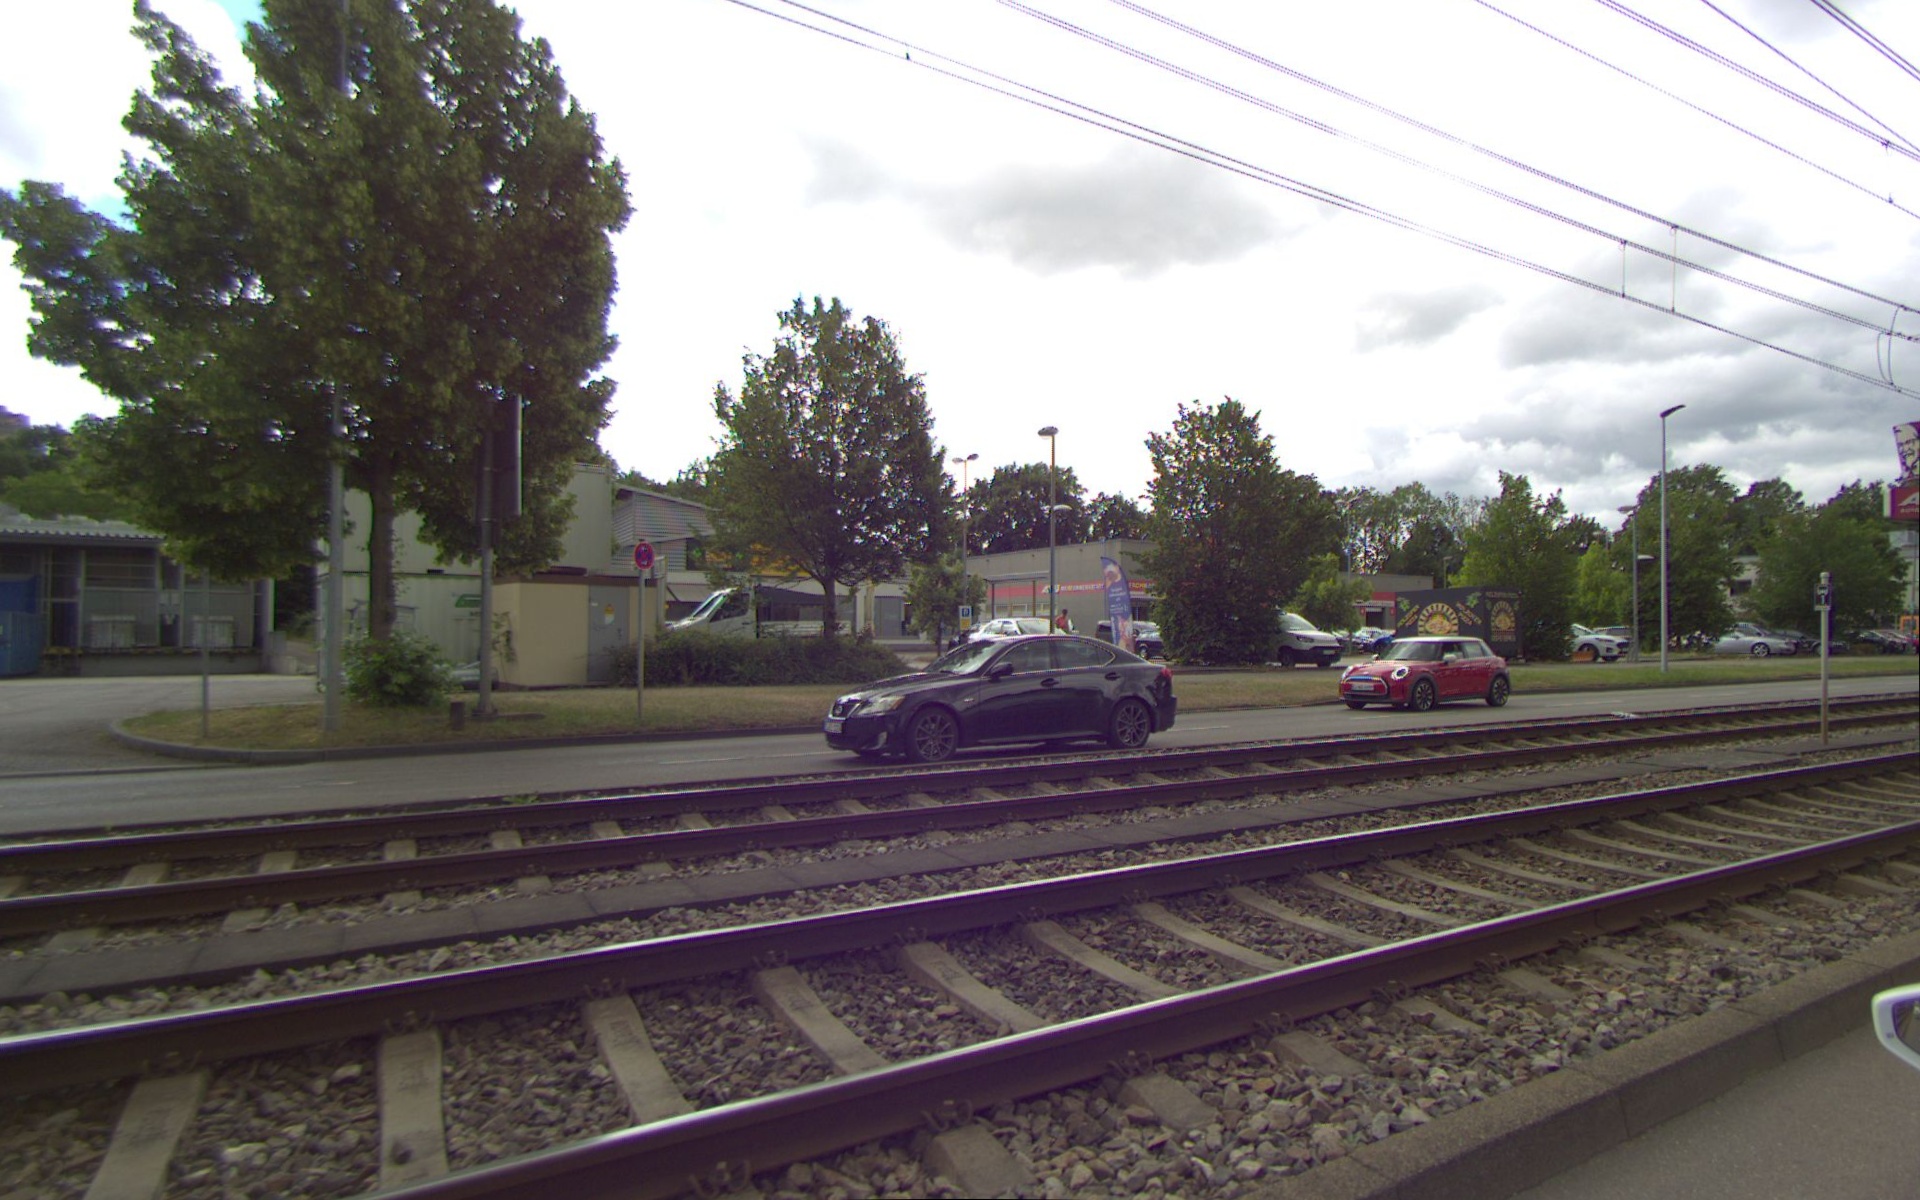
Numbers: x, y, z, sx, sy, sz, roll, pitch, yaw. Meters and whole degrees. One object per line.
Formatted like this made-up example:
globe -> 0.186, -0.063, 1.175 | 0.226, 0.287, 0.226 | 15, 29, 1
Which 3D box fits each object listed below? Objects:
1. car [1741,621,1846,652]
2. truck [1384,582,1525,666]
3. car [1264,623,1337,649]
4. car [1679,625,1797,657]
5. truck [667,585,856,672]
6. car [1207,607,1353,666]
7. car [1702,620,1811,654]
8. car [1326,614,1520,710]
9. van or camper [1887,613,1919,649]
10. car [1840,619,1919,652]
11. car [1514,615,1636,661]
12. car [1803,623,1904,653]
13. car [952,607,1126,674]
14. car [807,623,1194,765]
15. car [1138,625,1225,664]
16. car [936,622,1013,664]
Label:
car -> 44.291, 1.932, 53.438 | 1.859, 1.620, 3.963 | 1, -2, -34
truck -> 17.936, 0.894, 36.606 | 2.350, 2.859, 3.966 | 1, -2, -32
car -> 19.479, 2.065, 57.642 | 1.664, 1.491, 3.716 | 1, -2, -36
car -> 38.069, 1.967, 49.272 | 1.661, 1.491, 4.284 | 1, -2, -31
truck -> -5.865, 0.871, 29.954 | 5.202, 2.414, 1.984 | 1, -2, -30
car -> 10.118, 1.167, 32.075 | 1.973, 1.750, 4.199 | 1, -2, -31
car -> 40.230, 1.855, 50.810 | 1.859, 1.656, 3.963 | 1, -2, -34
car -> 9.584, 1.223, 20.725 | 3.956, 1.795, 1.782 | 1, -2, -32
van or camper -> 59.732, 1.927, 61.544 | 1.859, 2.163, 3.962 | 1, 0, -34
car -> 55.094, 2.082, 59.655 | 1.859, 1.821, 3.962 | 1, -1, -34
car -> 25.568, 1.561, 41.876 | 1.859, 1.821, 3.963 | 1, -2, -34
car -> 50.668, 2.160, 57.050 | 1.859, 1.620, 3.963 | 1, -2, -34
car -> 2.042, 1.077, 27.521 | 2.619, 1.650, 4.761 | 0, -2, -29
car -> 0.555, 1.046, 12.006 | 4.393, 1.419, 1.751 | 1, -4, -31
car -> 9.941, 1.988, 45.303 | 1.668, 1.661, 3.903 | 1, -2, -30
car -> 0.514, 1.695, 40.135 | 1.669, 1.617, 3.979 | 1, -2, -23
